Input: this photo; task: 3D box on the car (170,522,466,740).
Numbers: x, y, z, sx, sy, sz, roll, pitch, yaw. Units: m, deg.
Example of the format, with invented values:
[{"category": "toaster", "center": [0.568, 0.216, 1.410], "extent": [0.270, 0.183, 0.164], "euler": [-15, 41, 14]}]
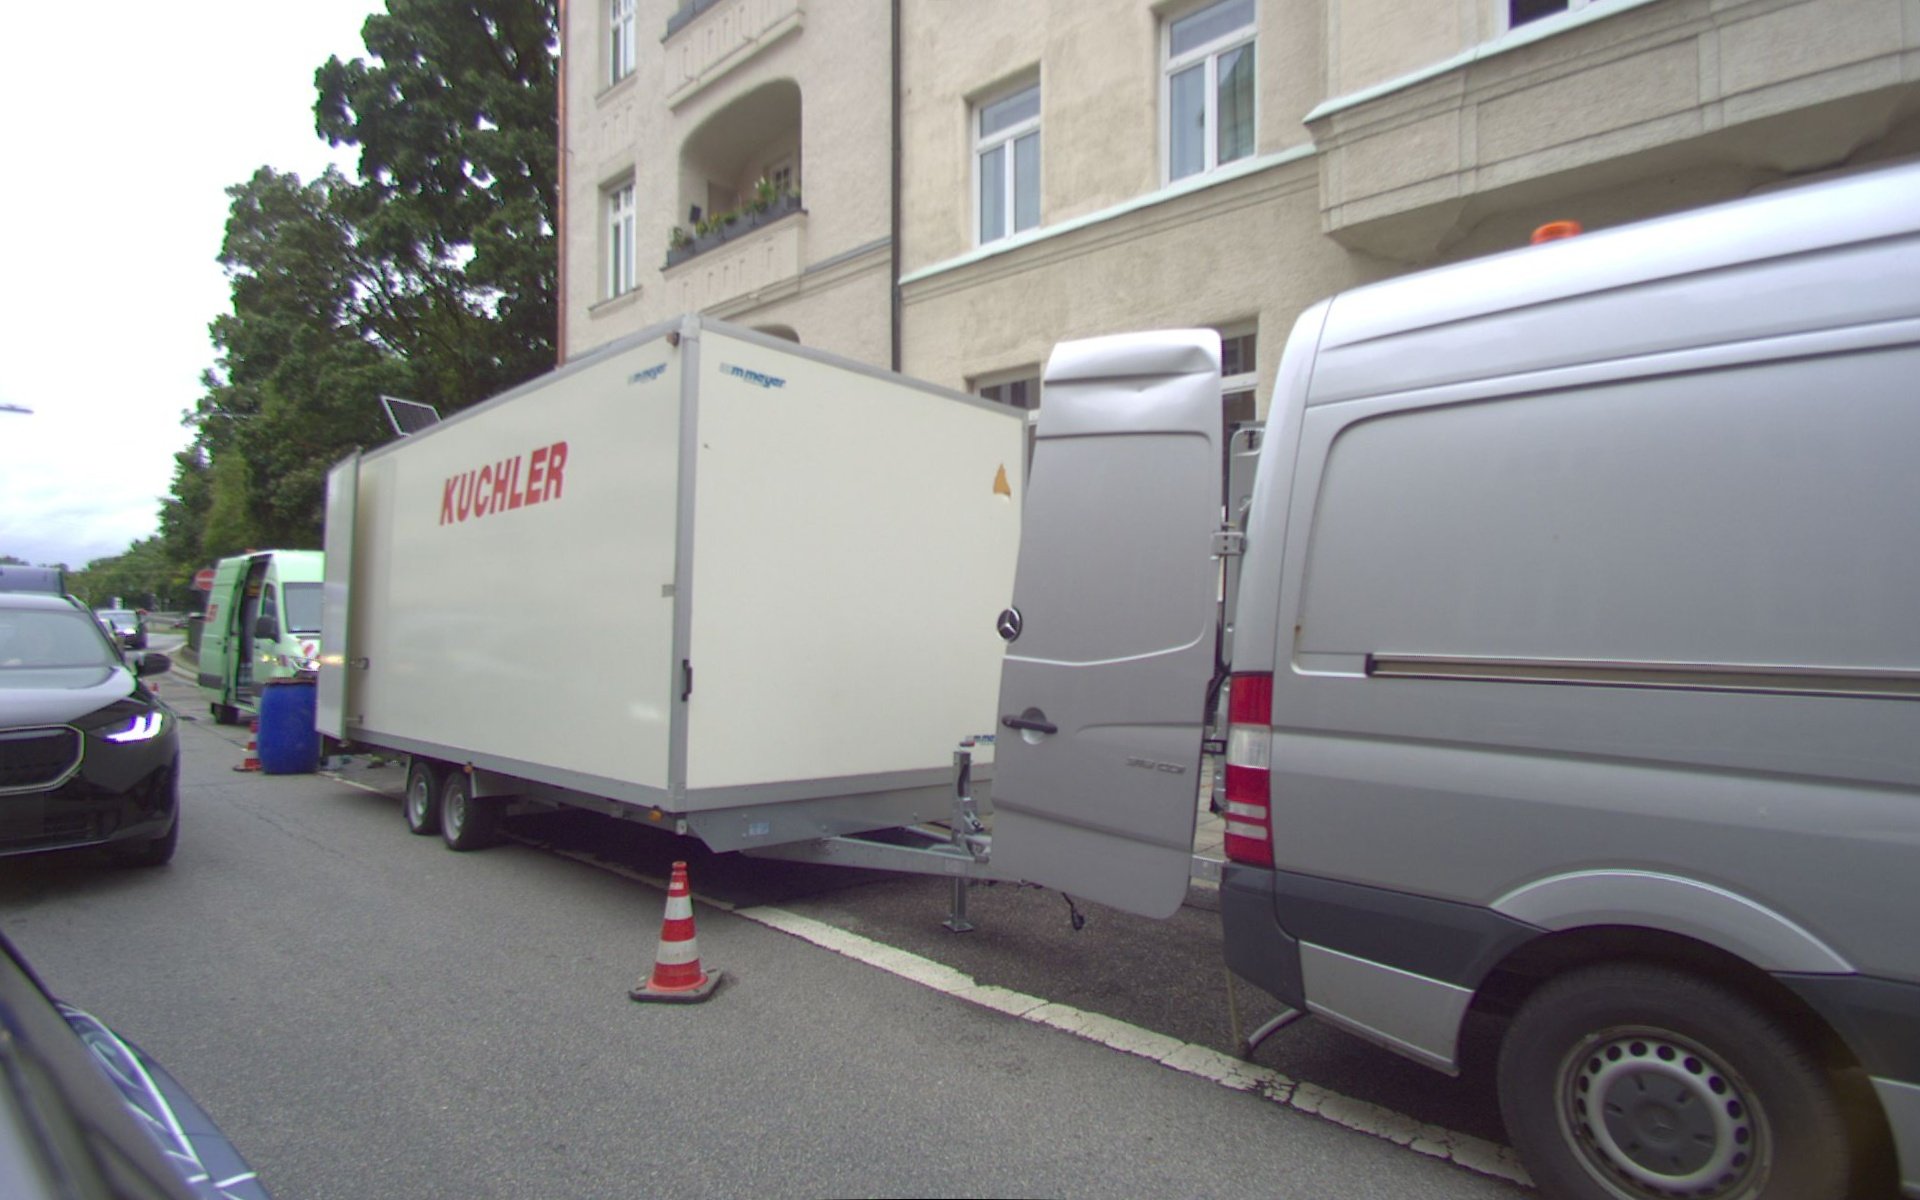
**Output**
[{"category": "car", "center": [-9.836, 0.445, 15.154], "extent": [6.795, 2.592, 2.117], "euler": [-2, -2, 43]}]

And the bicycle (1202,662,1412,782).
[{"category": "bicycle", "center": [3.113, 1.069, 9.225], "extent": [0.391, 0.930, 1.804], "euler": [-1, 0, -44]}]

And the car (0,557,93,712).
[{"category": "car", "center": [-17.657, 0.565, 18.704], "extent": [1.974, 2.510, 6.247], "euler": [1, -1, -36]}]

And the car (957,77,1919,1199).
[{"category": "car", "center": [3.258, 0.291, 2.152], "extent": [6.875, 2.607, 2.034], "euler": [-1, -6, 42]}]

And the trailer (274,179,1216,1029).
[{"category": "trailer", "center": [-2.270, 0.184, 7.225], "extent": [7.602, 2.992, 2.772], "euler": [-2, -6, 45]}]

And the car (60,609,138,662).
[{"category": "car", "center": [-29.832, 1.222, 35.160], "extent": [1.790, 1.601, 4.172], "euler": [7, -5, -39]}]

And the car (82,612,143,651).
[{"category": "car", "center": [-36.034, 1.319, 43.029], "extent": [1.791, 1.474, 4.170], "euler": [7, -5, -40]}]

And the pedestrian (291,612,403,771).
[{"category": "pedestrian", "center": [-6.438, 0.931, 10.656], "extent": [0.633, 1.592, 0.757], "euler": [0, -2, 25]}]

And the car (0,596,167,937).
[{"category": "car", "center": [-6.060, 0.778, 6.158], "extent": [1.892, 1.577, 4.302], "euler": [2, -2, -38]}]
